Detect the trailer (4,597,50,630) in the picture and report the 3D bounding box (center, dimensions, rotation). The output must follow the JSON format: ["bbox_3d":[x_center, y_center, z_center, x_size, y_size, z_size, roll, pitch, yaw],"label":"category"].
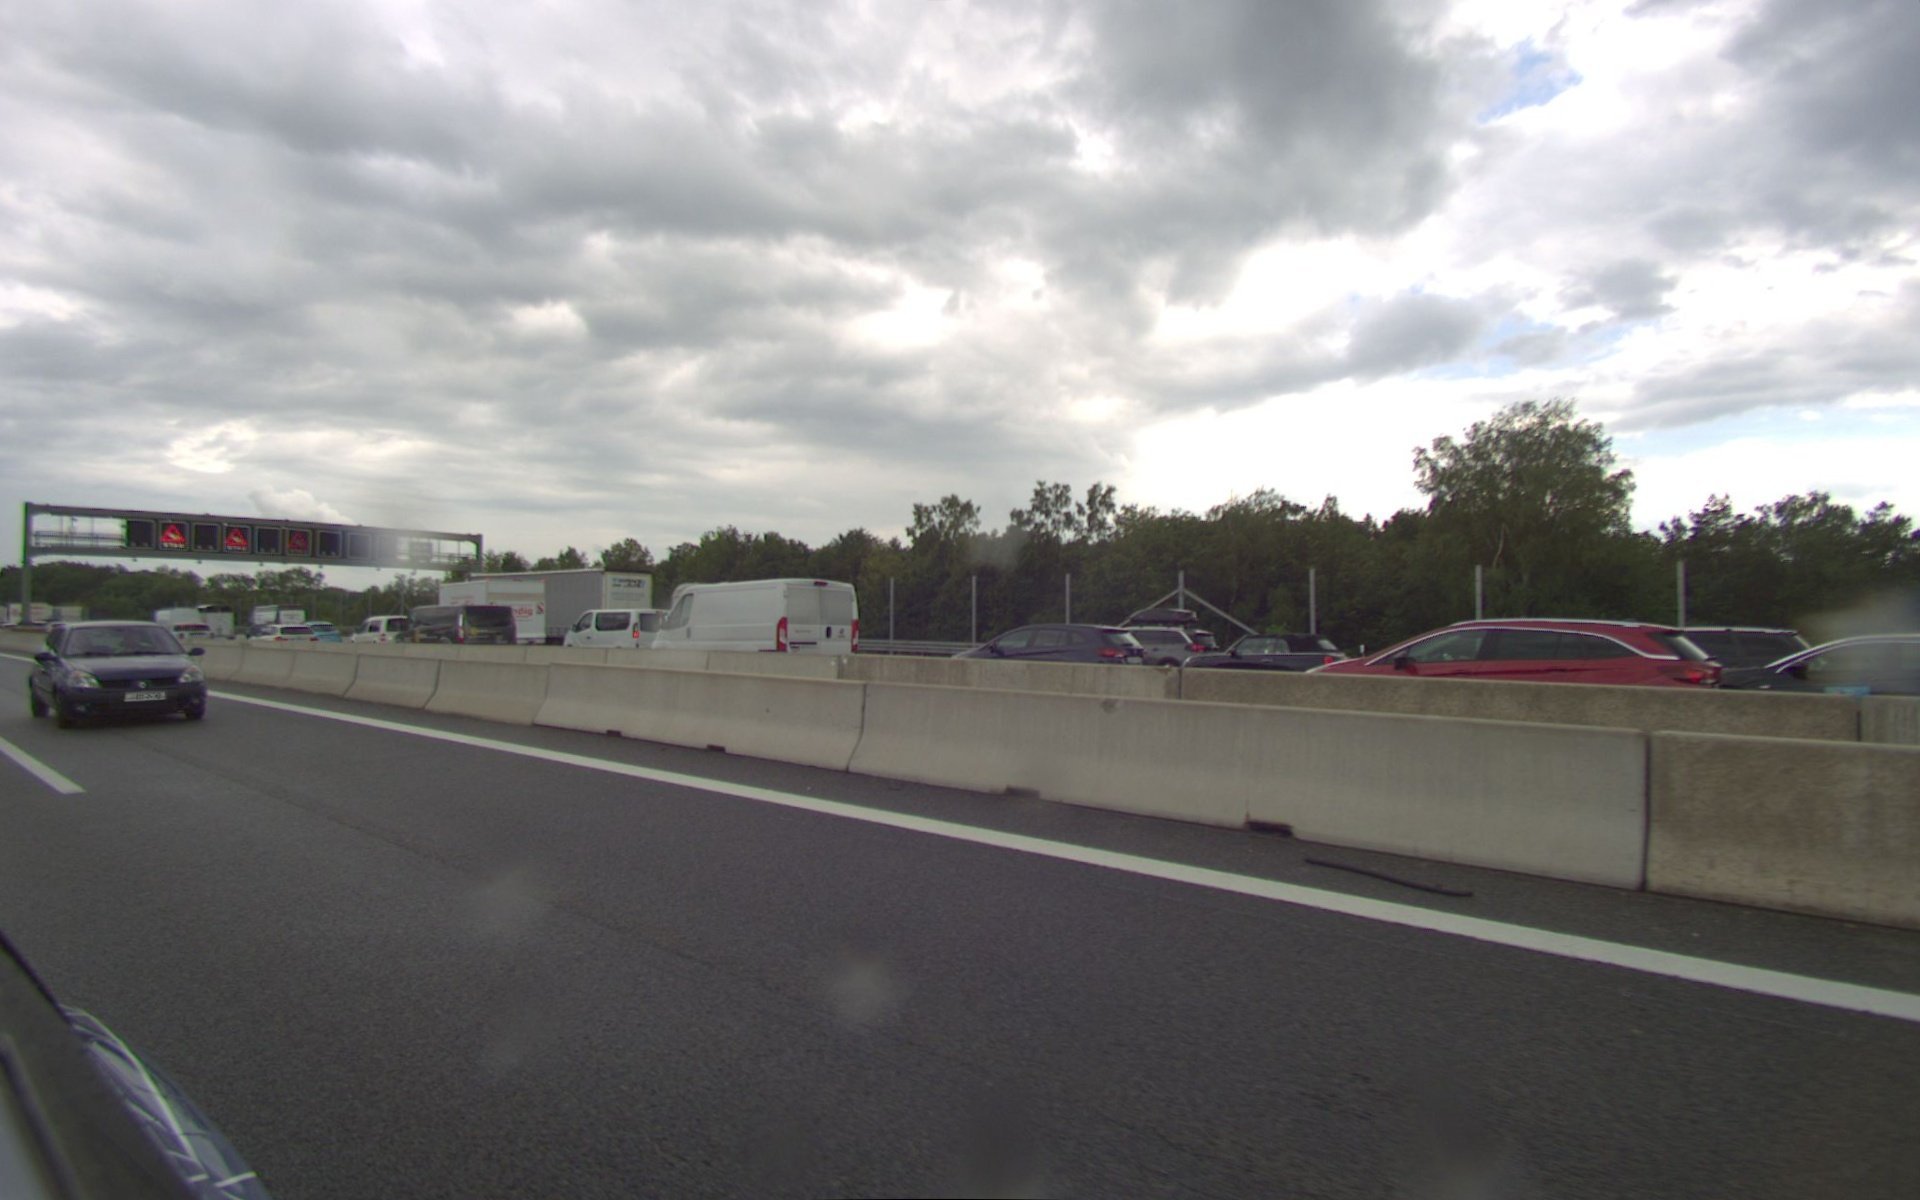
[{"bbox_3d":[-128.750,1.945,139.618,11.947,4.226,3.154,-2,-2,40],"label":"trailer"}]

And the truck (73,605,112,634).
[{"bbox_3d":[-109.237,2.485,127.409,7.801,3.564,2.438,-2,-2,40],"label":"truck"}]

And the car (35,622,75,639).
[{"bbox_3d":[-73.852,2.509,82.573,4.500,1.402,1.686,-2,-2,39],"label":"car"}]

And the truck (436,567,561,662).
[{"bbox_3d":[-25.515,0.813,55.811,8.020,4.893,3.115,-2,-1,40],"label":"truck"}]

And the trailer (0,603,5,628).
[{"bbox_3d":[-162.363,2.661,168.745,13.007,3.963,3.210,-1,-1,41],"label":"trailer"}]

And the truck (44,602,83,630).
[{"bbox_3d":[-128.848,2.312,145.411,10.750,3.869,2.868,-2,-2,41],"label":"truck"}]

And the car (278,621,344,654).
[{"bbox_3d":[-34.043,1.931,53.034,4.278,1.634,1.783,-2,-1,41],"label":"car"}]

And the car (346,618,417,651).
[{"bbox_3d":[-31.314,1.834,54.749,5.314,1.680,1.694,-2,-1,41],"label":"car"}]

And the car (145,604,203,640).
[{"bbox_3d":[-57.779,1.635,74.327,6.061,2.507,2.180,-2,-2,40],"label":"car"}]

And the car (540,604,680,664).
[{"bbox_3d":[-11.728,1.094,33.708,5.661,1.838,1.839,-1,-1,41],"label":"car"}]

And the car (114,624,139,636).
[{"bbox_3d":[-96.837,3.480,117.606,4.000,1.437,1.567,-2,-2,40],"label":"car"}]

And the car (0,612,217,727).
[{"bbox_3d":[-12.655,0.916,14.884,5.014,1.418,1.758,-1,-1,41],"label":"car"}]

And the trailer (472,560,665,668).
[{"bbox_3d":[-20.159,0.754,51.333,13.283,4.893,3.115,-1,-1,40],"label":"trailer"}]

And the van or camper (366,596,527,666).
[{"bbox_3d":[-16.245,0.938,31.817,6.336,2.029,1.975,-1,-1,38],"label":"van or camper"}]

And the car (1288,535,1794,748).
[{"bbox_3d":[6.492,0.418,11.706,4.803,1.984,1.844,-1,-1,41],"label":"car"}]

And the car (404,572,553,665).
[{"bbox_3d":[-19.073,0.730,39.847,7.623,3.325,2.472,-2,-1,41],"label":"car"}]

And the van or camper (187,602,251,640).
[{"bbox_3d":[-58.553,1.707,79.895,6.206,2.869,2.558,-2,-2,39],"label":"van or camper"}]

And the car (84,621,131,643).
[{"bbox_3d":[-58.309,2.164,69.187,4.390,1.449,1.740,-1,-1,40],"label":"car"}]

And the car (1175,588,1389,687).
[{"bbox_3d":[7.065,0.781,22.376,3.998,1.984,2.073,-1,-1,41],"label":"car"}]

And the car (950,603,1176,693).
[{"bbox_3d":[2.061,0.945,21.089,4.424,1.673,1.844,-2,-1,41],"label":"car"}]

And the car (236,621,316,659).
[{"bbox_3d":[-29.056,1.685,42.919,4.931,1.504,1.625,-2,-1,41],"label":"car"}]

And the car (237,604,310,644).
[{"bbox_3d":[-46.280,1.605,68.140,7.353,2.566,2.248,-1,-1,40],"label":"car"}]

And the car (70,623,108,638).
[{"bbox_3d":[-78.491,2.741,91.175,5.125,1.368,1.780,-2,-2,40],"label":"car"}]

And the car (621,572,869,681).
[{"bbox_3d":[-4.591,0.538,20.984,5.628,1.984,2.073,-2,-1,41],"label":"car"}]

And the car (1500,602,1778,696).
[{"bbox_3d":[12.153,0.812,18.256,3.998,1.514,1.576,-1,-1,41],"label":"car"}]

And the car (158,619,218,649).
[{"bbox_3d":[-41.628,1.811,54.535,4.391,1.509,1.740,-2,-1,41],"label":"car"}]

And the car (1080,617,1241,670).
[{"bbox_3d":[5.522,1.149,28.077,3.998,1.331,1.870,-1,-1,41],"label":"car"}]

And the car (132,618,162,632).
[{"bbox_3d":[-87.319,2.697,108.679,4.338,1.437,1.744,-2,-2,40],"label":"car"}]

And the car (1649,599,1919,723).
[{"bbox_3d":[11.885,0.759,13.439,4.350,1.514,1.781,-1,-1,41],"label":"car"}]

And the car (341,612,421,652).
[{"bbox_3d":[-26.423,1.444,46.122,4.793,1.680,1.694,-2,-1,41],"label":"car"}]

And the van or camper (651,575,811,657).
[{"bbox_3d":[-6.798,0.479,29.764,4.968,2.202,2.073,-2,-1,41],"label":"van or camper"}]

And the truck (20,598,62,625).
[{"bbox_3d":[-148.090,1.946,163.005,17.732,4.052,2.621,-2,-2,40],"label":"truck"}]
